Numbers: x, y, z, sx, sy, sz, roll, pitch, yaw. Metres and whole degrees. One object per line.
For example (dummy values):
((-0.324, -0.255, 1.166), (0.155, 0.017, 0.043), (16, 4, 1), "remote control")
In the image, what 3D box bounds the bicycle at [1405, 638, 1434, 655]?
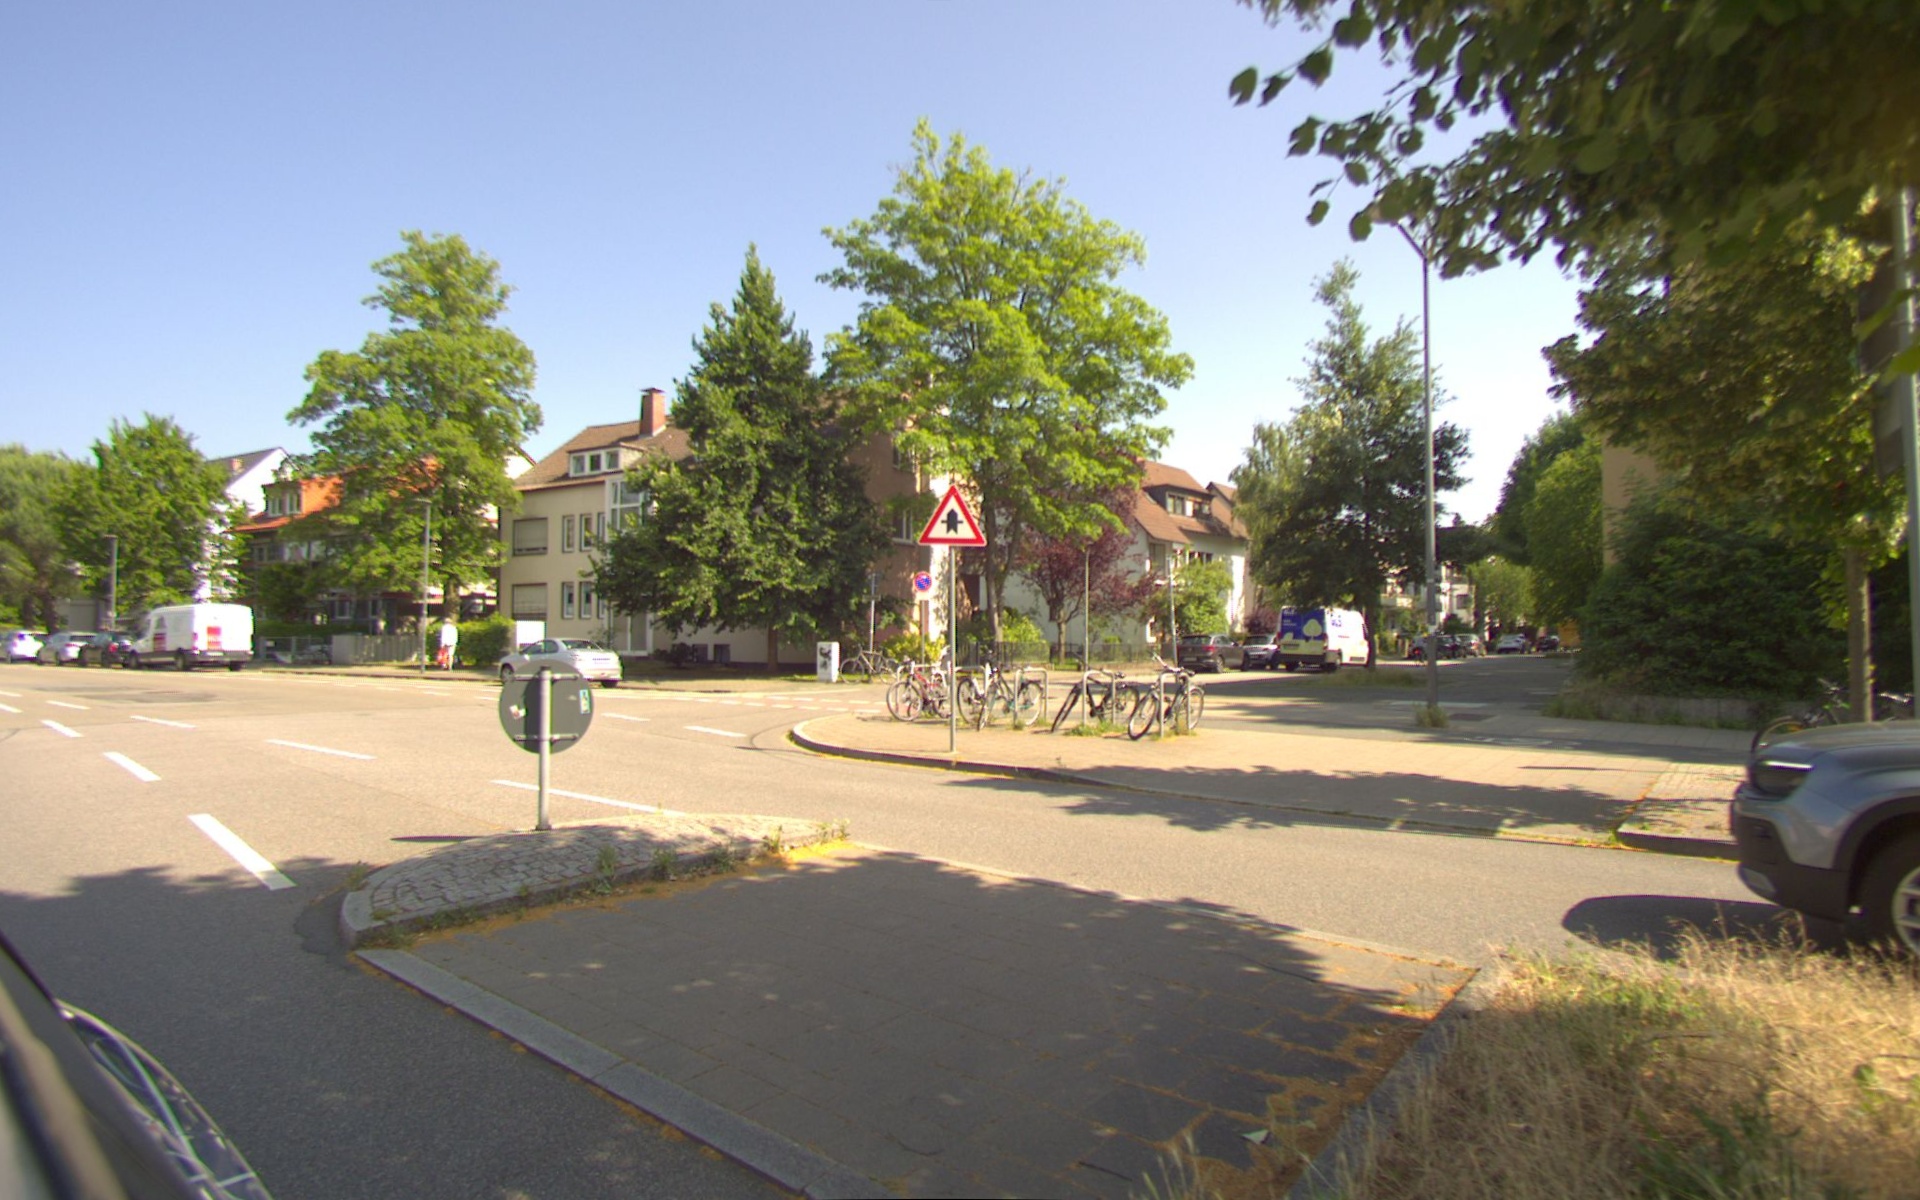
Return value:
((22.160, 2.242, 48.765), (0.749, 0.830, 2.147), (-3, -3, 38), "bicycle")

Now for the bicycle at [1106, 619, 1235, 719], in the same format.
((2.965, 0.909, 14.023), (0.738, 1.266, 2.520), (-2, -3, 37), "bicycle")

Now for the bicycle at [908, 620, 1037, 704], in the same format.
((0.252, 0.997, 16.340), (0.738, 1.249, 2.520), (-2, -4, 37), "bicycle")

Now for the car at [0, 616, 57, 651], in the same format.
((-44.418, 1.608, 47.713), (3.987, 1.571, 1.706), (-2, -4, 33), "car")

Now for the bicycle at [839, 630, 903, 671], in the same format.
((-2.413, 1.372, 27.436), (1.688, 1.089, 0.378), (0, -3, -9), "bicycle")

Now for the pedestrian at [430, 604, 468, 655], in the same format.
((-18.060, 1.045, 35.757), (0.724, 1.793, 0.965), (-2, -3, 36), "pedestrian")

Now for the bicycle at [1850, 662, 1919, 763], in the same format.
((9.134, 1.048, 9.378), (1.268, 0.910, 0.516), (-1, -3, 36), "bicycle")

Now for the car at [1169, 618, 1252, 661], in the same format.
((9.705, 1.543, 39.074), (1.746, 1.564, 3.748), (-2, -3, 37), "car")

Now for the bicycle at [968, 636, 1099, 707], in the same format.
((1.172, 1.072, 15.447), (0.738, 0.995, 2.520), (-2, -4, 37), "bicycle")

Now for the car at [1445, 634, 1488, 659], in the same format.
((35.065, 3.225, 70.001), (1.863, 1.650, 3.947), (-3, -3, 39), "car")

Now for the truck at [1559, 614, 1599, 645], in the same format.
((56.418, 2.735, 92.132), (2.231, 2.616, 8.710), (-3, -3, 37), "truck")

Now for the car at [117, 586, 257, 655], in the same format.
((-29.887, 0.870, 39.082), (5.927, 2.516, 2.075), (-2, -4, 29), "car")

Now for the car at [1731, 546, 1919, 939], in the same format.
((5.472, 0.577, 3.732), (4.071, 1.559, 1.723), (-1, -4, 41), "car")

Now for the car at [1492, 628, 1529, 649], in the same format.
((44.438, 3.125, 81.682), (1.863, 1.650, 3.947), (-3, -3, 39), "car")

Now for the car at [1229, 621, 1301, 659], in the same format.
((13.168, 1.727, 43.553), (1.746, 1.564, 3.748), (-2, -3, 37), "car")

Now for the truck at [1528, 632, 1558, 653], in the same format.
((52.717, 3.861, 91.500), (1.795, 1.839, 3.950), (-3, -3, 37), "truck")

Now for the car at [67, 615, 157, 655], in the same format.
((-35.176, 1.470, 41.964), (3.987, 1.571, 1.706), (-2, -4, 33), "car")

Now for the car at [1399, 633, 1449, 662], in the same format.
((28.531, 2.913, 62.159), (1.863, 1.719, 3.947), (-3, -3, 39), "car")

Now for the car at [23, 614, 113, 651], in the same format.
((-39.312, 1.467, 44.564), (4.657, 1.571, 1.706), (-2, -4, 33), "car")

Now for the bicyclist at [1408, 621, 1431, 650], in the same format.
((22.171, 1.707, 48.801), (0.714, 1.402, 1.279), (-1, -2, 39), "bicyclist")

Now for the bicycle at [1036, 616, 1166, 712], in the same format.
((2.088, 0.920, 14.645), (0.738, 1.266, 2.491), (-2, -4, 37), "bicycle")

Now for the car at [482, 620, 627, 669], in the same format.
((-11.232, 1.253, 27.977), (3.987, 1.276, 1.706), (-2, -4, 33), "car")

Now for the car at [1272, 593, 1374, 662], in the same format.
((14.719, 1.183, 40.749), (2.279, 2.544, 6.060), (-2, -4, 36), "car")

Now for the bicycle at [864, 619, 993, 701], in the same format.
((-0.480, 1.006, 17.039), (0.738, 1.266, 2.520), (-2, -4, 37), "bicycle")
